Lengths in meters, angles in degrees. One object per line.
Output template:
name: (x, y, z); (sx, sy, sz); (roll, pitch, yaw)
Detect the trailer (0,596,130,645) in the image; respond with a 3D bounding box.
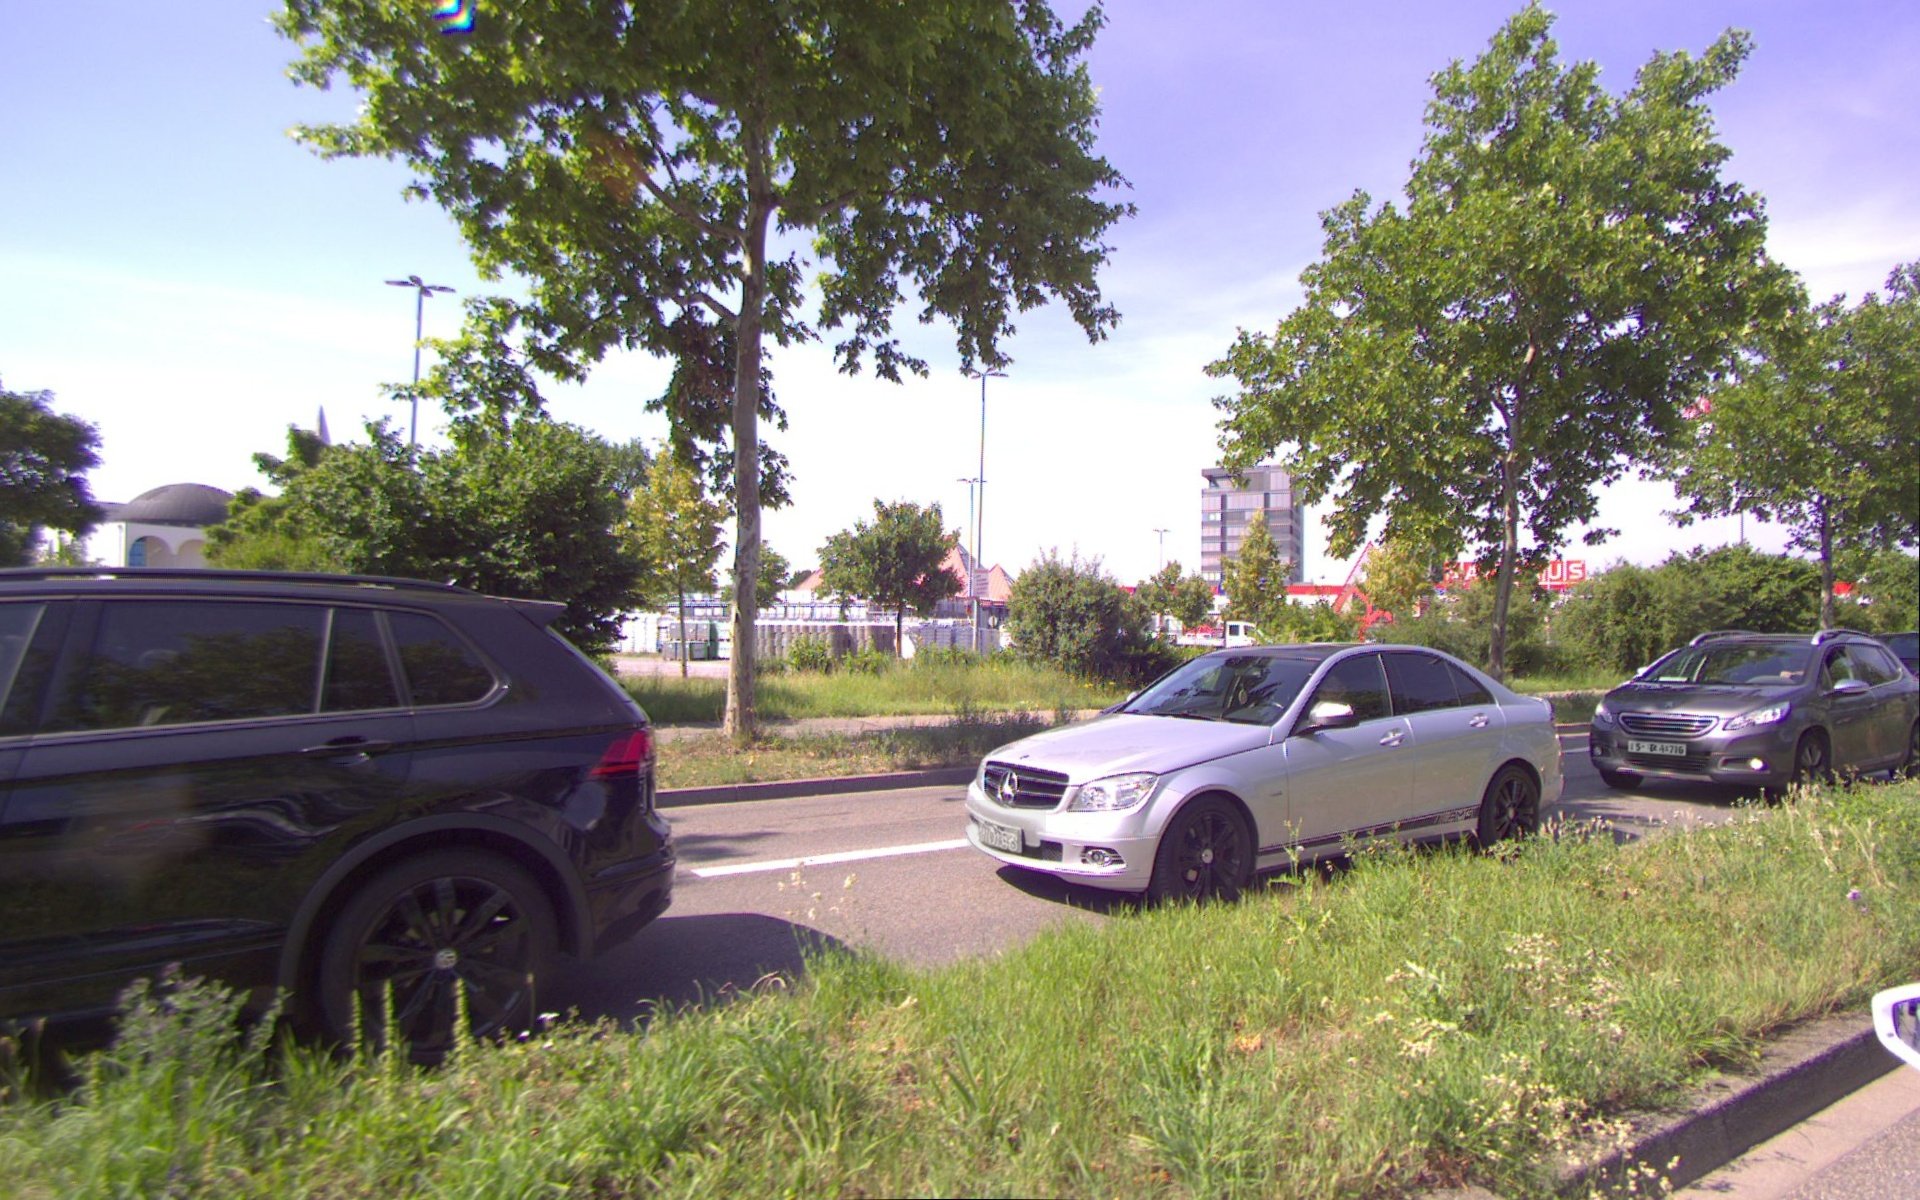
trailer: (-49.239, 1.086, 54.888); (8.057, 2.523, 2.924); (0, -1, 26)

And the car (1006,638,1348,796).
car: (2.398, 1.174, 10.946); (3.503, 1.471, 1.558); (1, -4, -30)

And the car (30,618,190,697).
car: (-17.436, 1.118, 20.831); (2.180, 1.432, 4.530); (2, -2, -36)

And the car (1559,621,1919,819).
car: (7.970, 1.045, 9.946); (4.190, 1.607, 1.681); (1, -3, -30)

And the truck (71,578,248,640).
truck: (-40.370, 0.457, 50.584); (9.431, 2.930, 2.925); (0, -1, 24)

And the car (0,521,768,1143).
car: (-3.187, 0.648, 3.409); (4.639, 1.668, 1.812); (3, -3, -30)

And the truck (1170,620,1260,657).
truck: (15.172, 2.270, 59.825); (5.120, 2.156, 2.001); (0, -2, 14)

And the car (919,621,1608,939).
car: (2.112, 0.922, 6.630); (4.469, 1.487, 1.789); (1, -3, -30)

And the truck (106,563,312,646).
truck: (-32.541, 0.223, 43.479); (8.754, 3.355, 3.159); (0, -1, 23)

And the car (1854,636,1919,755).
car: (14.042, 1.238, 13.576); (4.168, 1.492, 1.681); (1, -4, -30)

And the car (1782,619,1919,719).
car: (18.216, 1.332, 19.689); (4.715, 1.759, 1.812); (2, -3, -32)

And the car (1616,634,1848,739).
car: (12.908, 1.375, 16.747); (4.037, 1.550, 1.681); (1, -4, -31)
